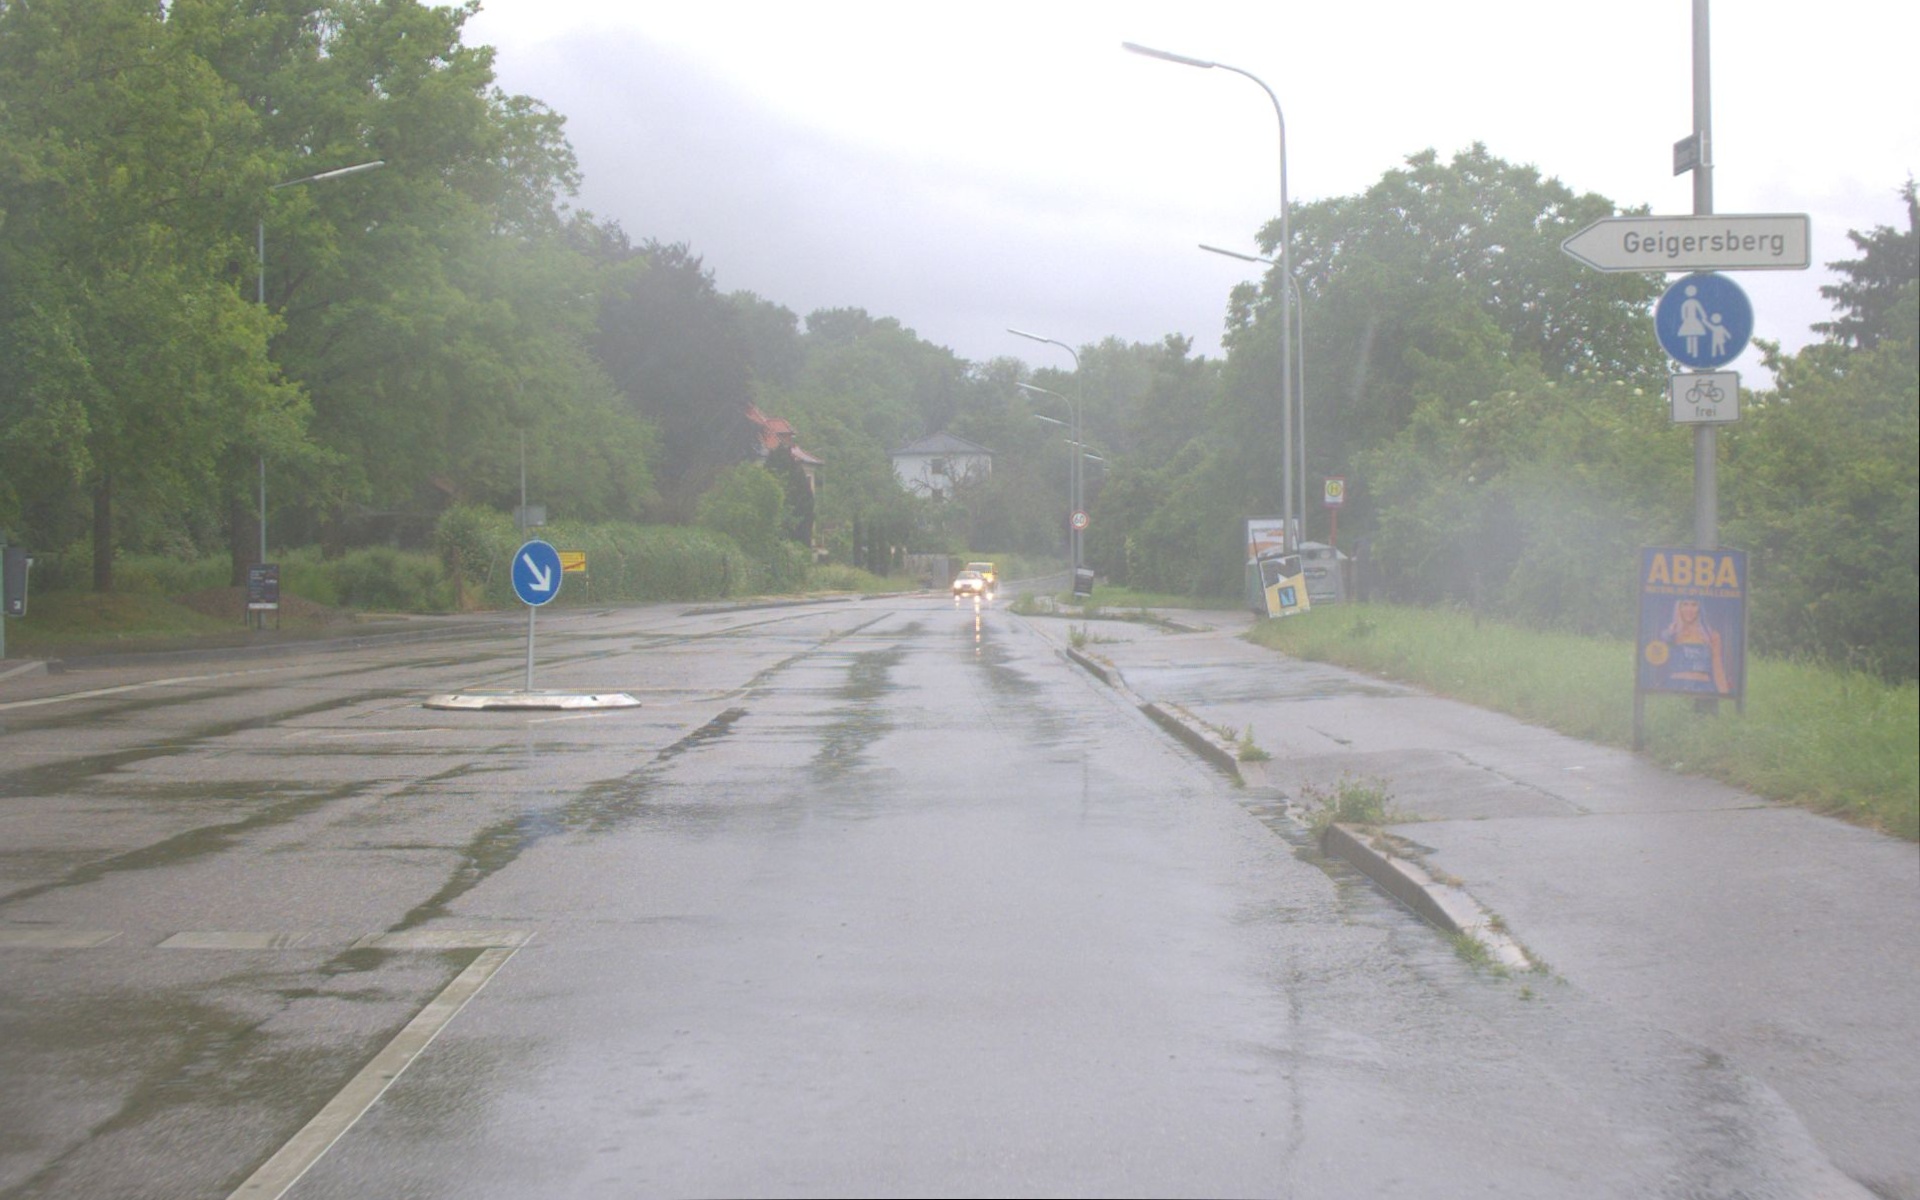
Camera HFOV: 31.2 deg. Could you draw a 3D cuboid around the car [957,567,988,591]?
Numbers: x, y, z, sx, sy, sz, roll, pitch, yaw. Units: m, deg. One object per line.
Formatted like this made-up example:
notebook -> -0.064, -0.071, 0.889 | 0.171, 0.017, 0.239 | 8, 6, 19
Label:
car -> 0.750, -1.214, 197.435 | 1.702, 1.345, 3.905 | 0, 0, 1
